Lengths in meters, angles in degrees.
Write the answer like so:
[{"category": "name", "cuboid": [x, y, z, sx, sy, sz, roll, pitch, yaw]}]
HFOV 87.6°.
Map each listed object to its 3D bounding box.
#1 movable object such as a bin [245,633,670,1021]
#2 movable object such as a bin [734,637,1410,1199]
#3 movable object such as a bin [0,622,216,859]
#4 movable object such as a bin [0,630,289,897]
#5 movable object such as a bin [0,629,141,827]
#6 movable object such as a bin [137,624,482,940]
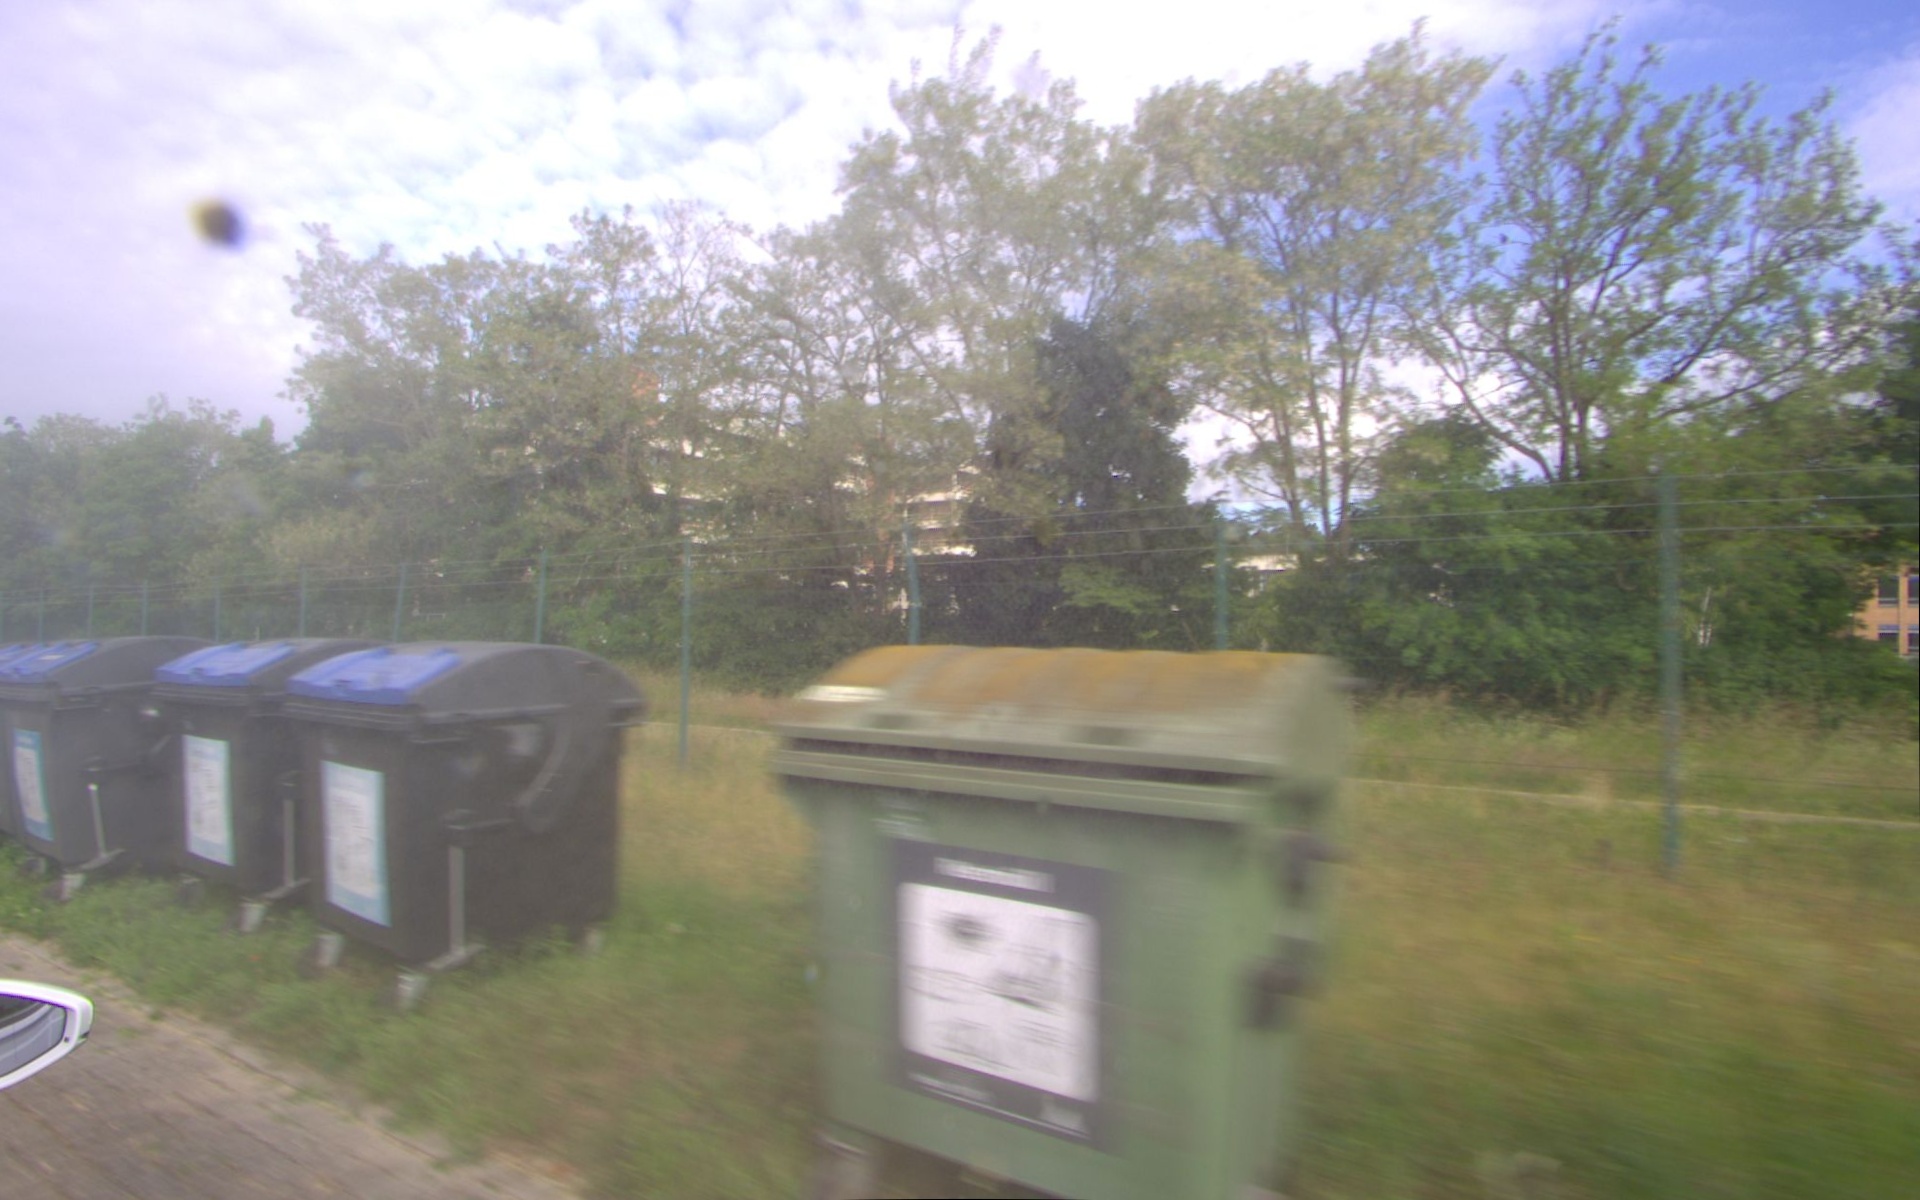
[{"category": "movable object such as a bin", "cuboid": [-2.210, 0.833, 4.404, 1.475, 1.341, 1.150, -2, -3, 39]}, {"category": "movable object such as a bin", "cuboid": [0.323, 0.762, 2.553, 1.360, 1.312, 1.121, -1, -3, 32]}, {"category": "movable object such as a bin", "cuboid": [-5.875, 0.870, 6.702, 1.309, 1.396, 1.119, -2, -3, 39]}, {"category": "movable object such as a bin", "cuboid": [-4.850, 0.856, 5.923, 1.309, 1.338, 1.118, -1, -2, 39]}, {"category": "movable object such as a bin", "cuboid": [-7.038, 0.909, 7.493, 1.409, 1.367, 1.119, -2, -3, 39]}, {"category": "movable object such as a bin", "cuboid": [-3.465, 0.848, 5.333, 1.475, 1.391, 1.119, -2, -3, 39]}]
